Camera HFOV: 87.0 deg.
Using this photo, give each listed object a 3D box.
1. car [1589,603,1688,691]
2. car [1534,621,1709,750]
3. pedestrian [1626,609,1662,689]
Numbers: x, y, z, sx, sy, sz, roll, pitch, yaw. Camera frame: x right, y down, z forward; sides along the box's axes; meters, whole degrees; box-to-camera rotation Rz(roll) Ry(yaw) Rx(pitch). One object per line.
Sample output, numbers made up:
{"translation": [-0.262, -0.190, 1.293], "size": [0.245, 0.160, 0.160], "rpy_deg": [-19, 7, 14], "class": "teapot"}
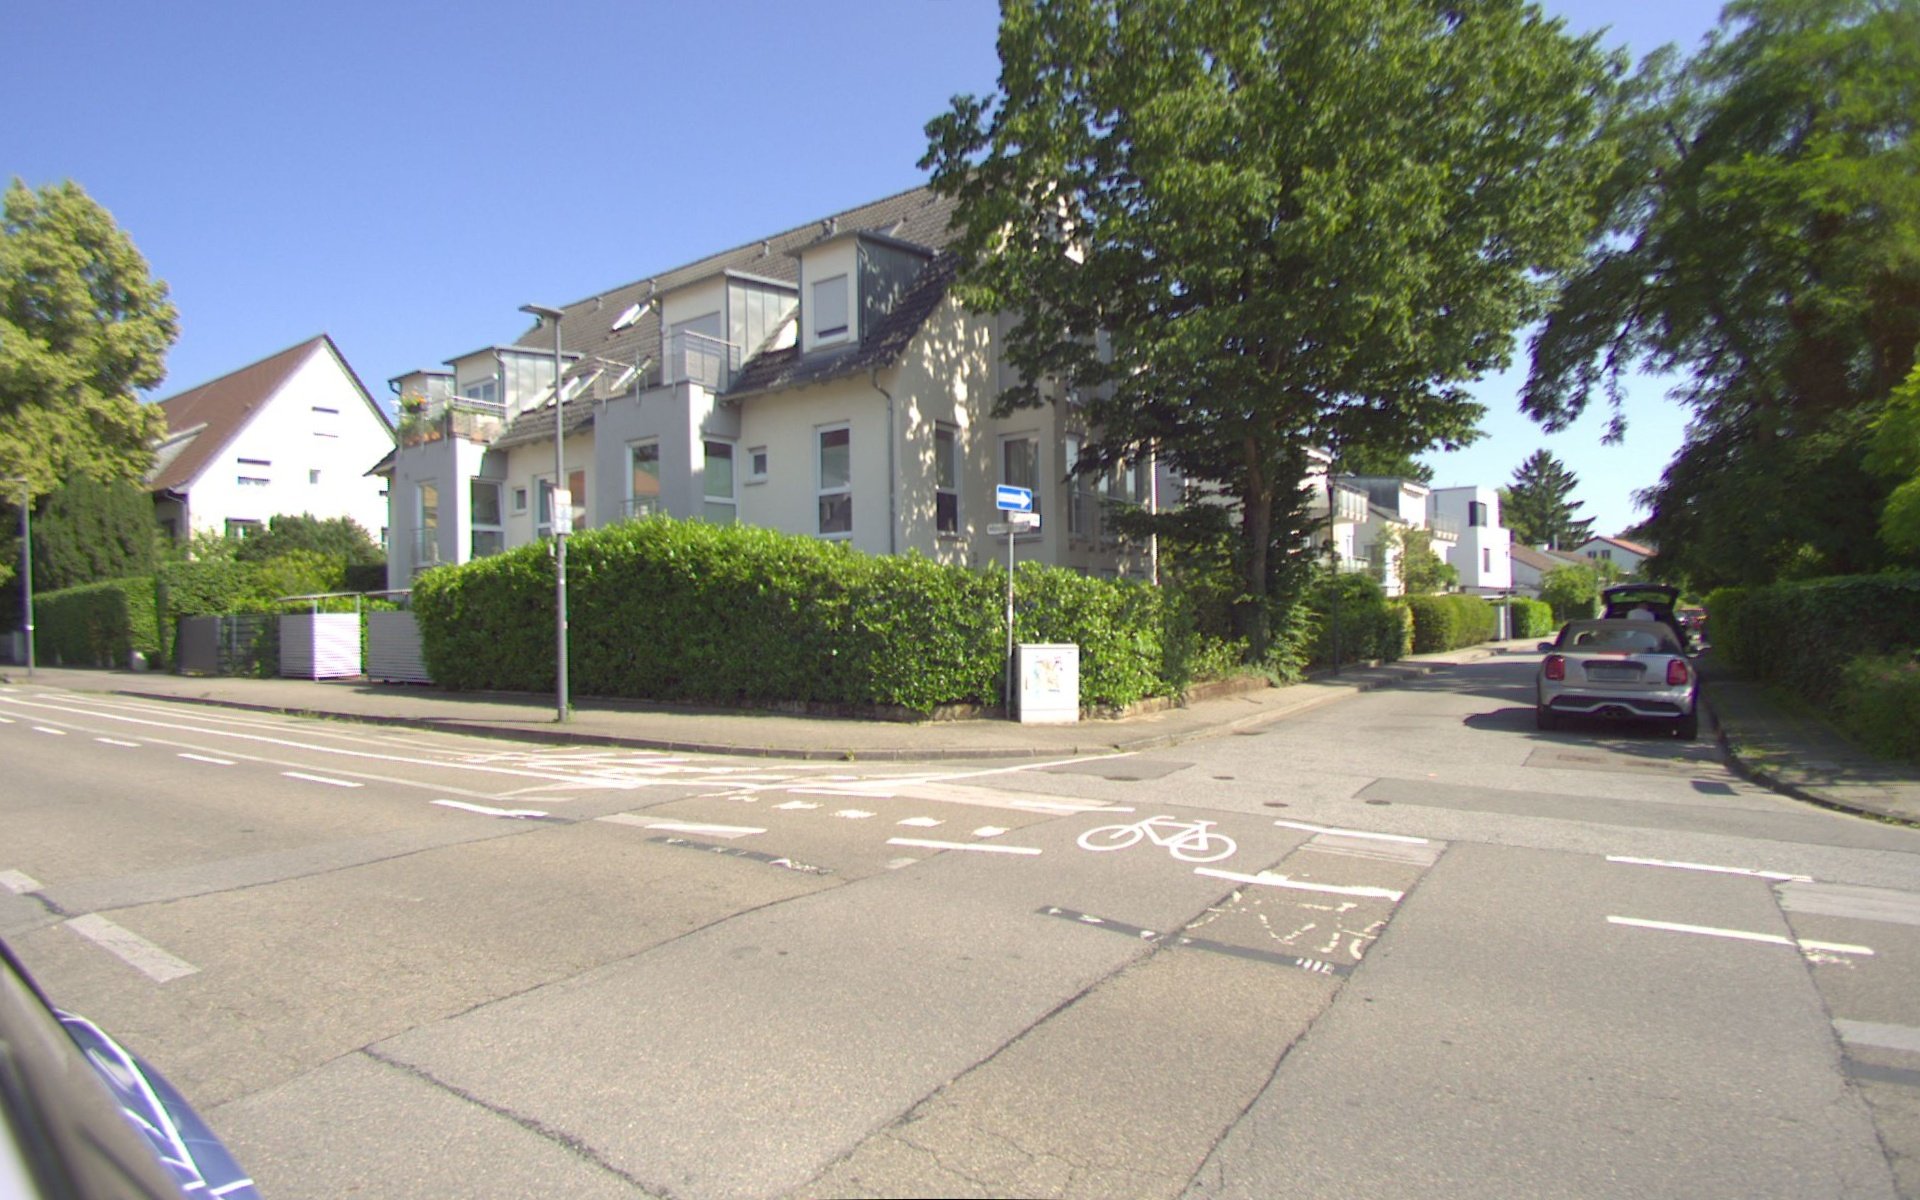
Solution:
{"translation": [14.865, 0.965, 22.195], "size": [1.640, 1.758, 3.463], "rpy_deg": [-2, -1, 34], "class": "car"}
{"translation": [8.862, 1.035, 13.576], "size": [1.722, 1.423, 3.463], "rpy_deg": [-2, -1, 34], "class": "car"}
{"translation": [14.082, 0.992, 20.838], "size": [0.567, 1.619, 0.395], "rpy_deg": [-2, -1, 36], "class": "pedestrian"}
